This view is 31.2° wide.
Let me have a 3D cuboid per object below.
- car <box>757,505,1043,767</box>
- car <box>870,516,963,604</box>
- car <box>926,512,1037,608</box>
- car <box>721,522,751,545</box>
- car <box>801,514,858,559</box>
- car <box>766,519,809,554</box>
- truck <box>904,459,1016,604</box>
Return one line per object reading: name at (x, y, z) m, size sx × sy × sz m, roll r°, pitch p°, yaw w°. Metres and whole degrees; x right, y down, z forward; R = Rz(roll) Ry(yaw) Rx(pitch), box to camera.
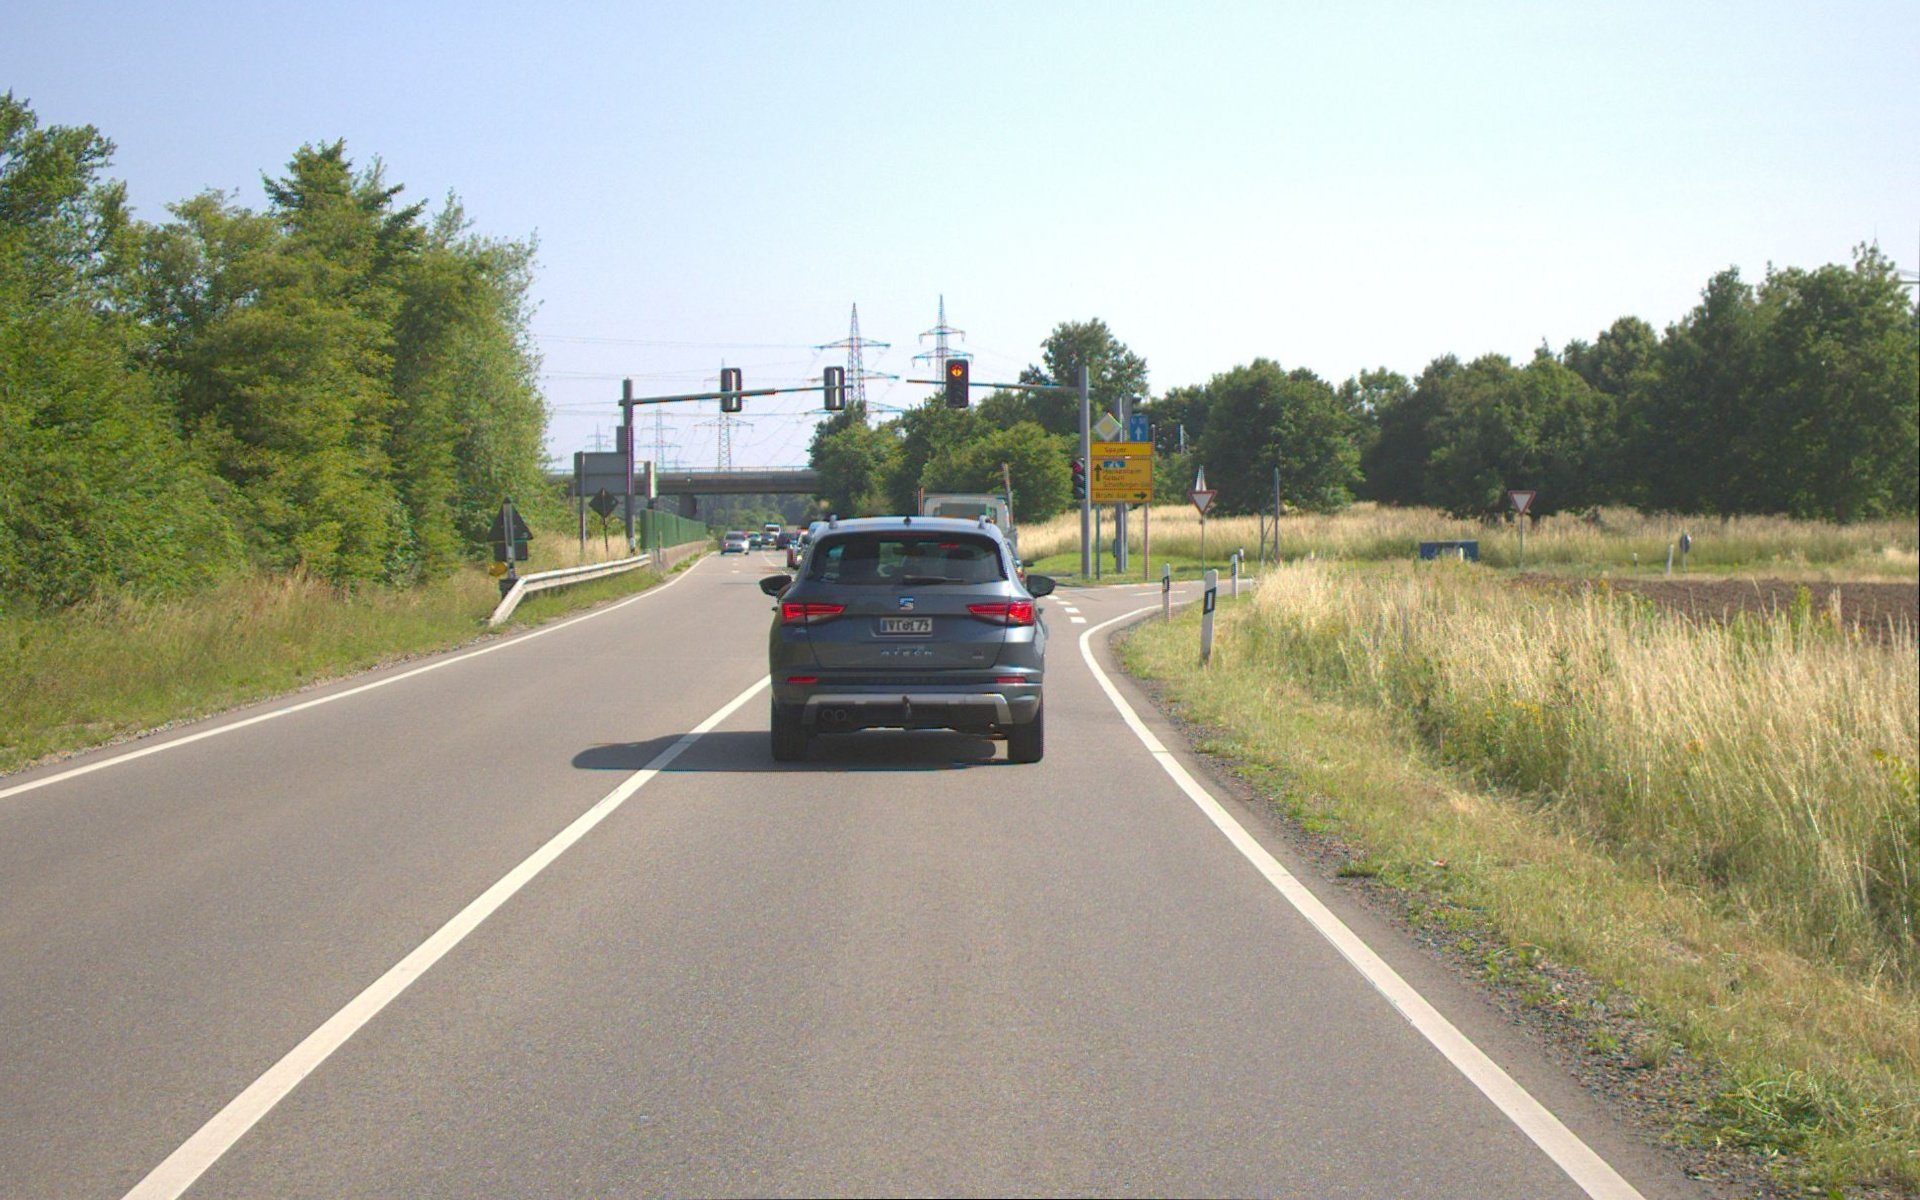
car at (-0.407, 0.170, 23.517) m, size 1.785 × 1.623 × 4.001 m, roll 0°, pitch 2°, yaw -1°
car at (-0.866, -0.816, 67.863) m, size 1.785 × 1.670 × 4.001 m, roll 0°, pitch 2°, yaw -1°
car at (0.331, -0.702, 58.121) m, size 1.785 × 1.538 × 4.001 m, roll 0°, pitch 2°, yaw -1°
car at (-14.326, -4.275, 220.088) m, size 1.824 × 1.426 × 4.001 m, roll -1°, pitch 2°, yaw -5°
car at (-4.567, -2.232, 119.947) m, size 1.816 × 1.535 × 4.001 m, roll -1°, pitch 1°, yaw -4°
car at (-7.020, -2.589, 139.934) m, size 1.684 × 1.375 × 3.534 m, roll 0°, pitch 2°, yaw -4°
truck at (0.004, -1.480, 75.506) m, size 2.337 × 3.055 × 5.810 m, roll 0°, pitch 1°, yaw 0°
